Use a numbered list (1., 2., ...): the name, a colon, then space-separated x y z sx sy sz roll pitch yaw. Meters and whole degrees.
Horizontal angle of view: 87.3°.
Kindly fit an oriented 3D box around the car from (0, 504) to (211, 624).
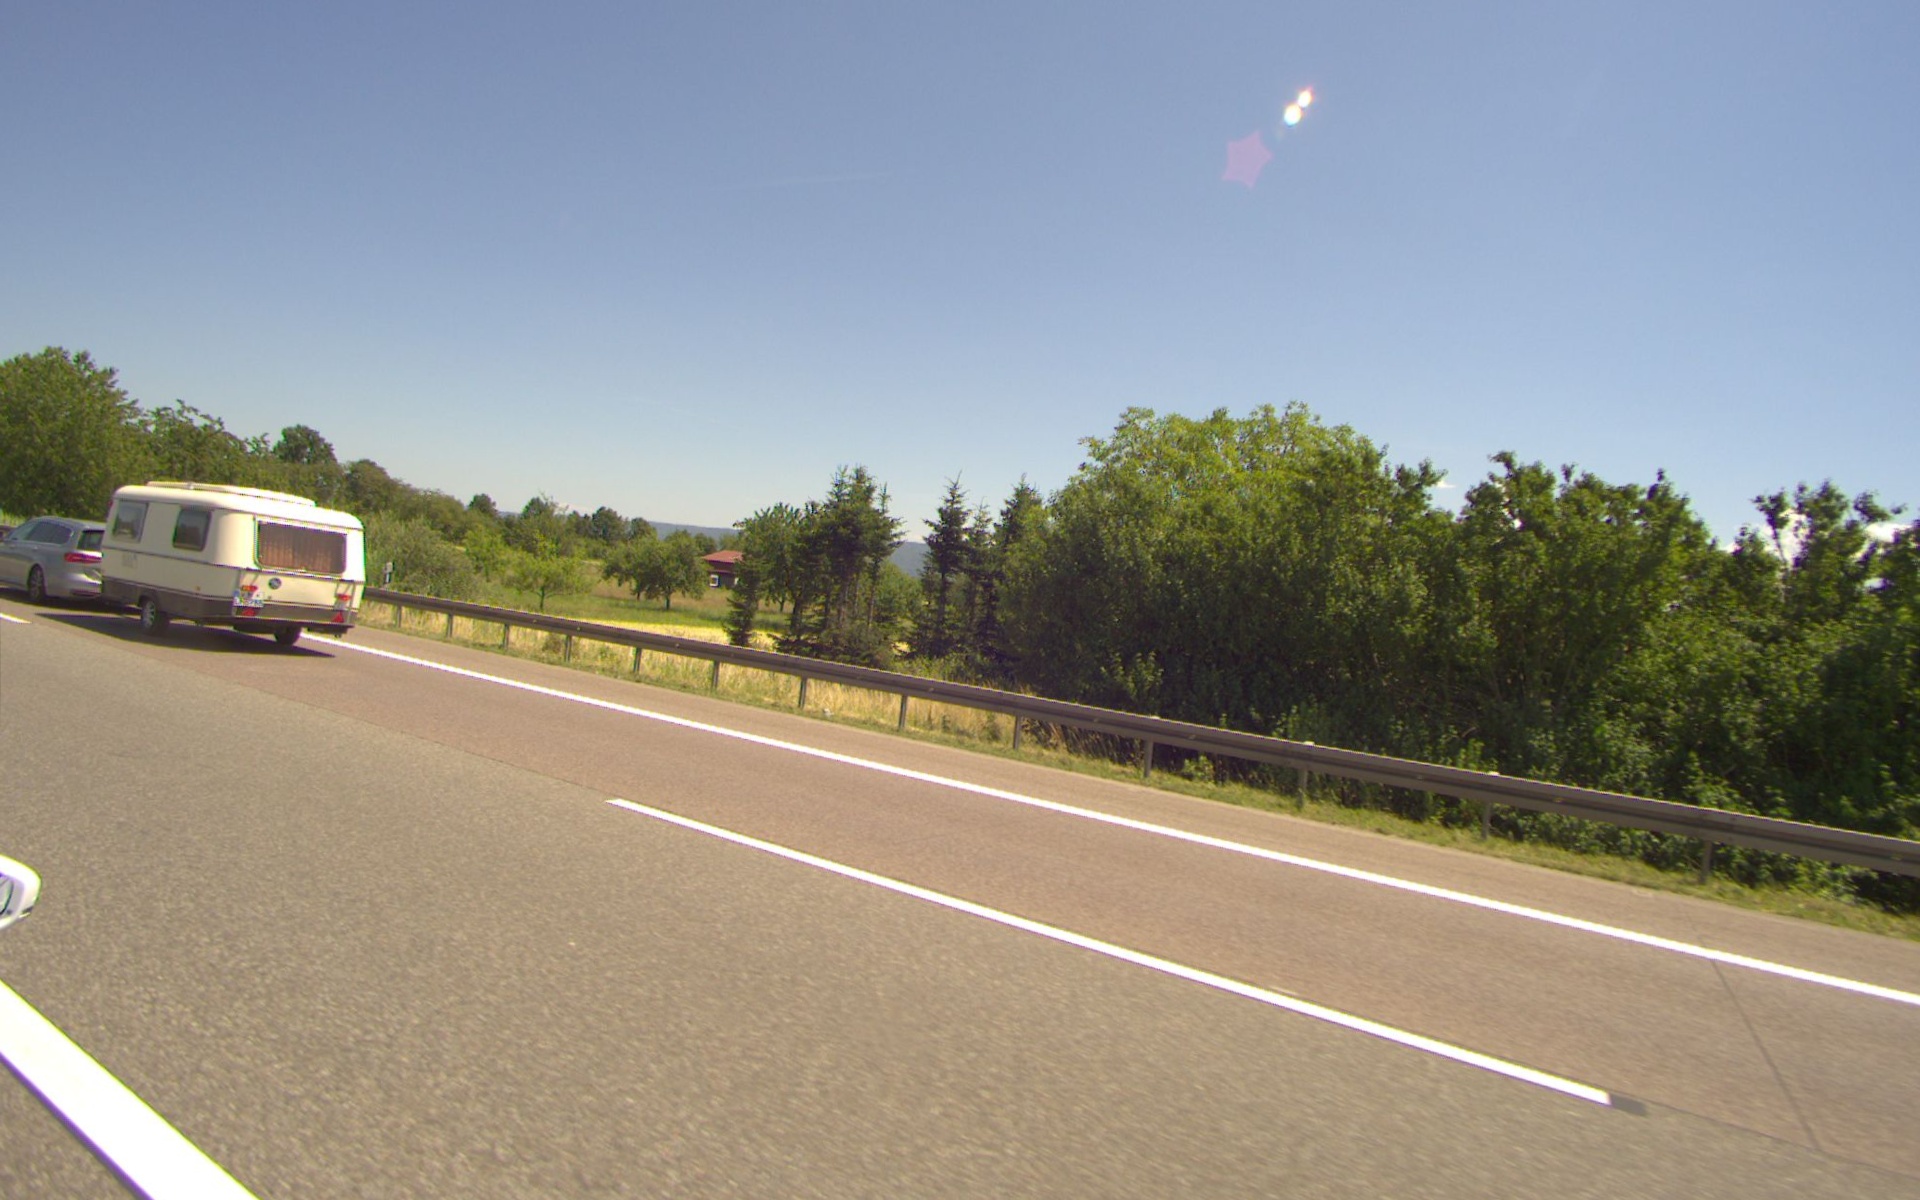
1. car: -15.566 -0.719 17.676 5.290 1.532 1.891 7 -2 31

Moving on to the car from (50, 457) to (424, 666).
1. car: -10.787 -0.599 14.932 5.231 2.350 2.446 8 1 30

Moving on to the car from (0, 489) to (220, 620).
1. car: -15.534 -0.886 17.634 5.416 1.678 2.048 8 0 30
